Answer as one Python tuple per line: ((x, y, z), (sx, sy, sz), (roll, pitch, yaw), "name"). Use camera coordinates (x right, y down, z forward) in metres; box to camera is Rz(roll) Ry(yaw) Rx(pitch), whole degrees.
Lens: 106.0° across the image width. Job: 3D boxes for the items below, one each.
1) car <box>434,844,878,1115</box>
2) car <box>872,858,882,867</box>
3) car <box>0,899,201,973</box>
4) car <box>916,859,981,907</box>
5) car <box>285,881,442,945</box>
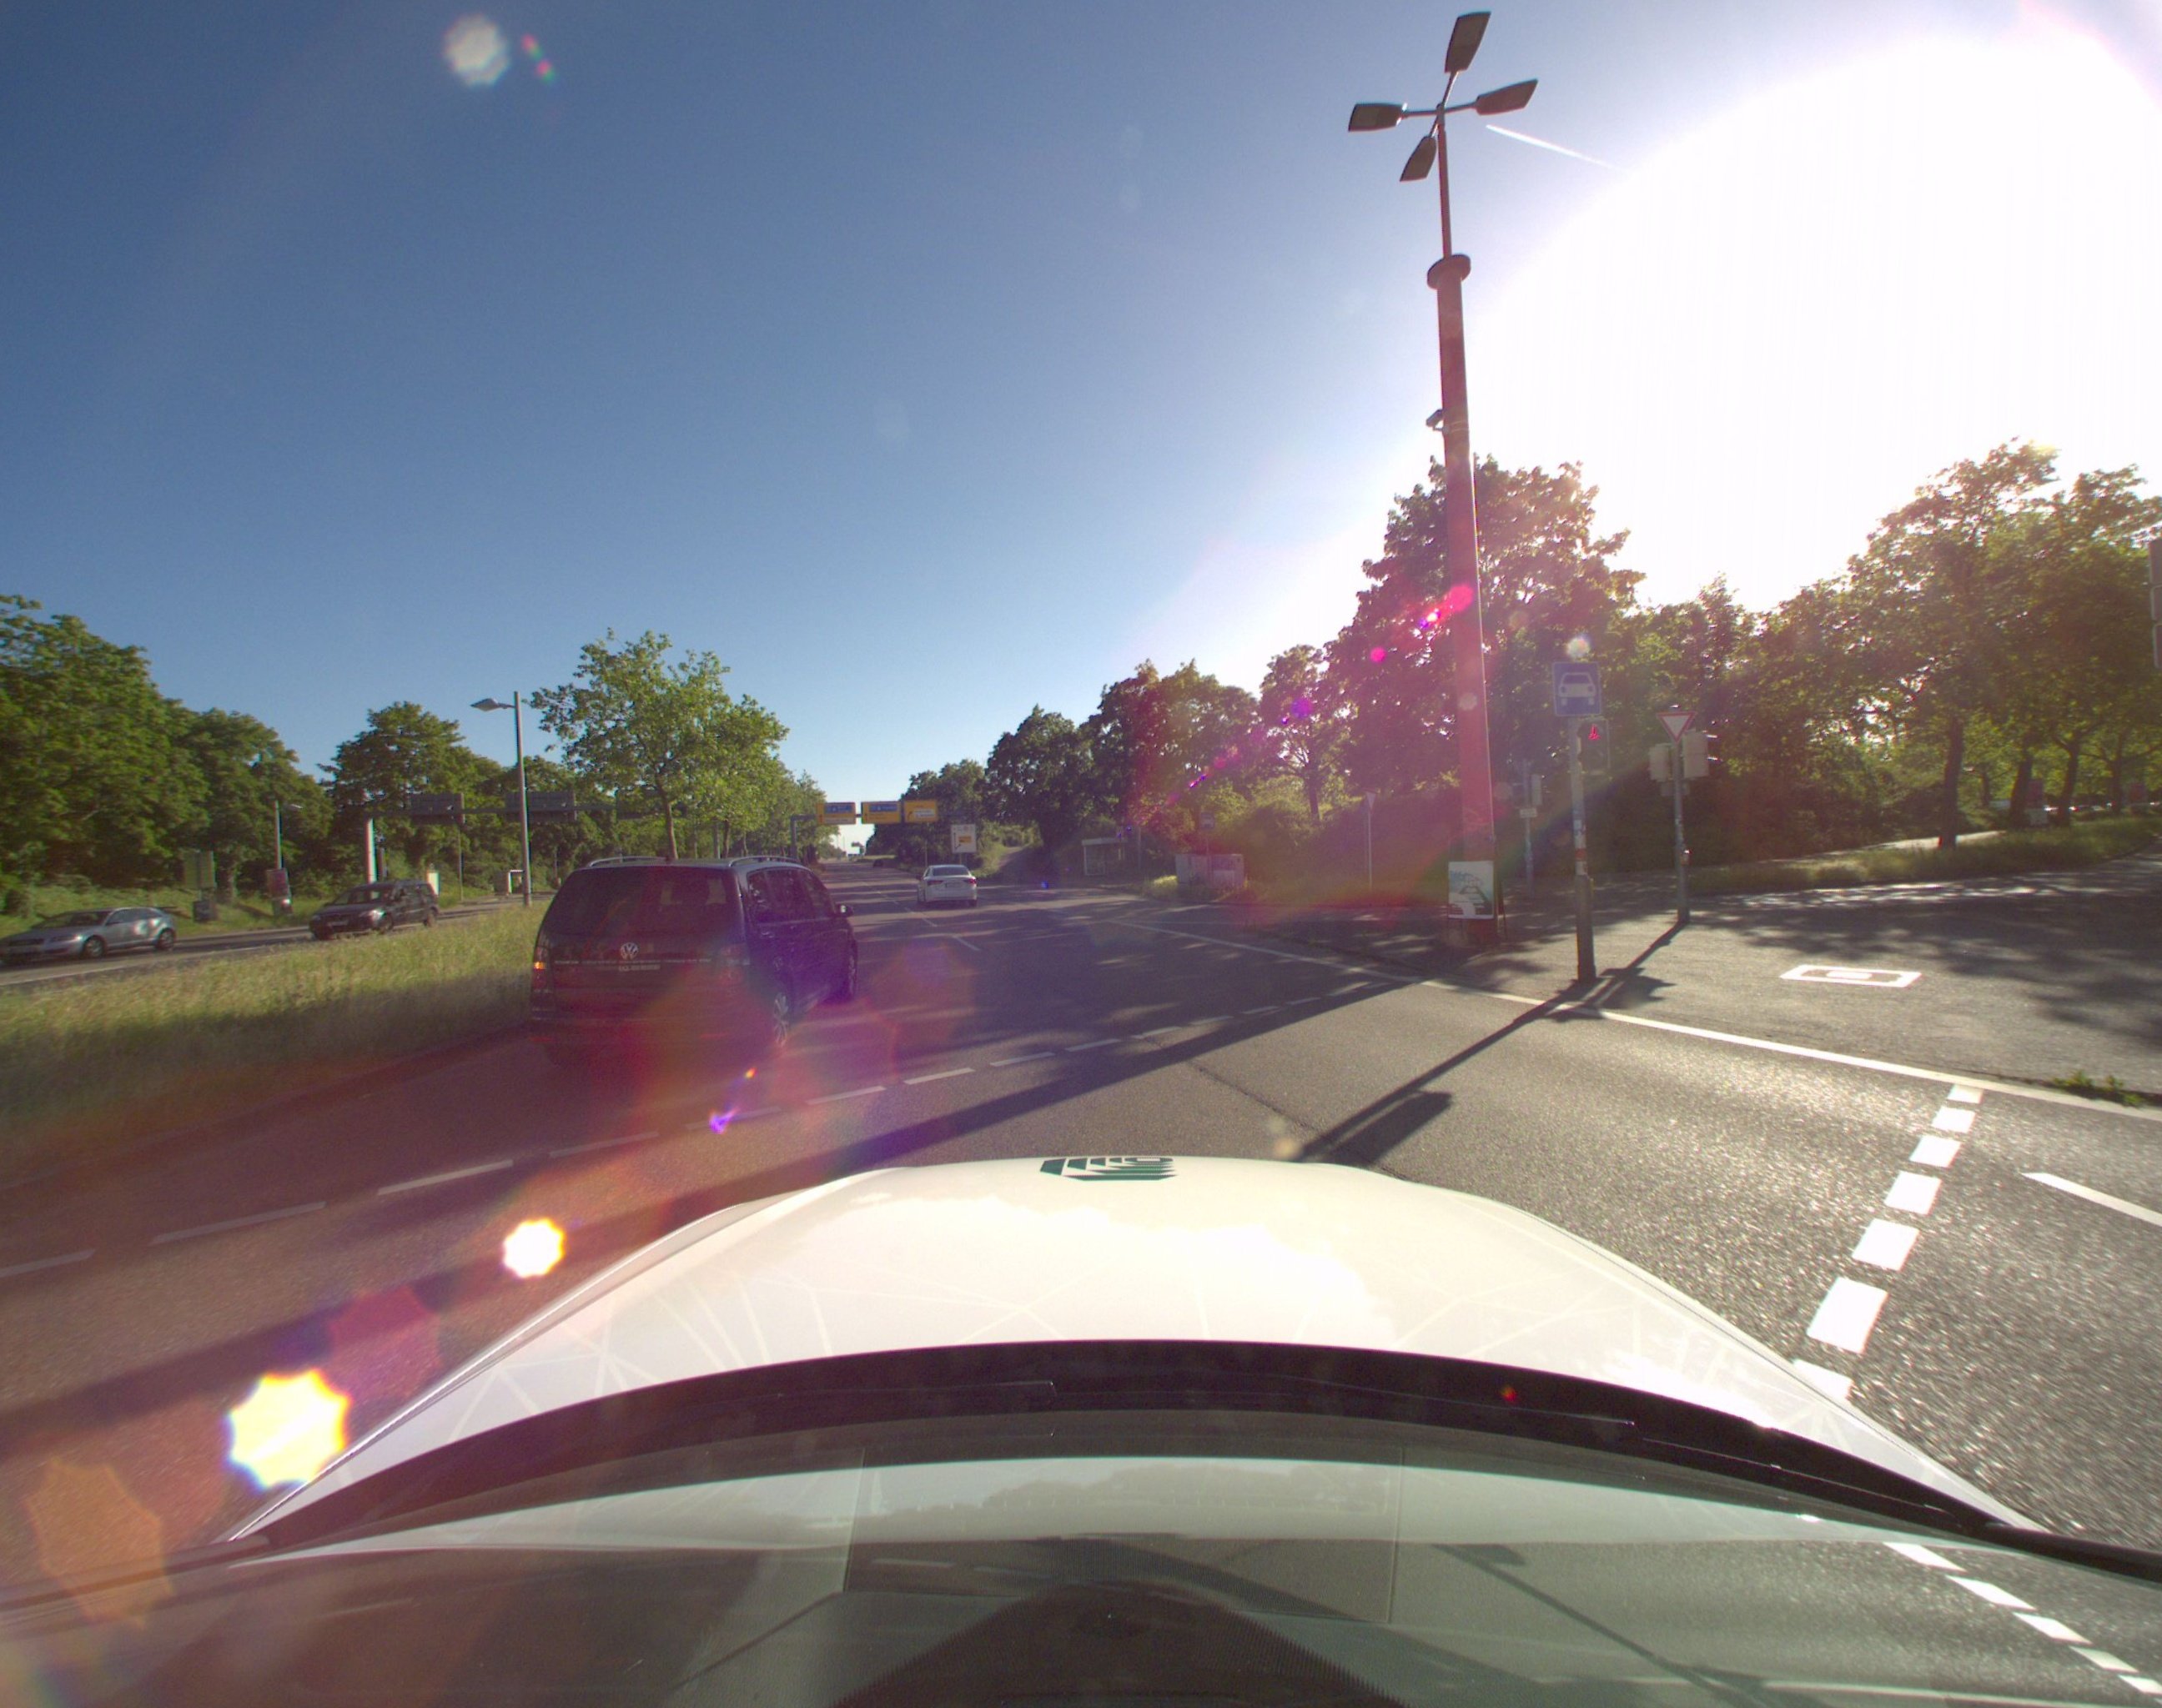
((-3.320, 0.785, 7.678), (1.764, 1.644, 4.917), (-2, 0, -3), "car")
((-38.194, 1.587, 152.398), (1.771, 1.464, 4.343), (-3, 0, -16), "car")
((-28.719, 2.315, 23.838), (1.903, 1.610, 4.538), (-4, 1, -17), "car")
((-4.805, 0.968, 29.049), (1.771, 1.464, 4.343), (-3, 0, -15), "car")
((-22.311, 1.771, 25.598), (1.903, 1.565, 4.538), (-4, 1, -17), "car")
